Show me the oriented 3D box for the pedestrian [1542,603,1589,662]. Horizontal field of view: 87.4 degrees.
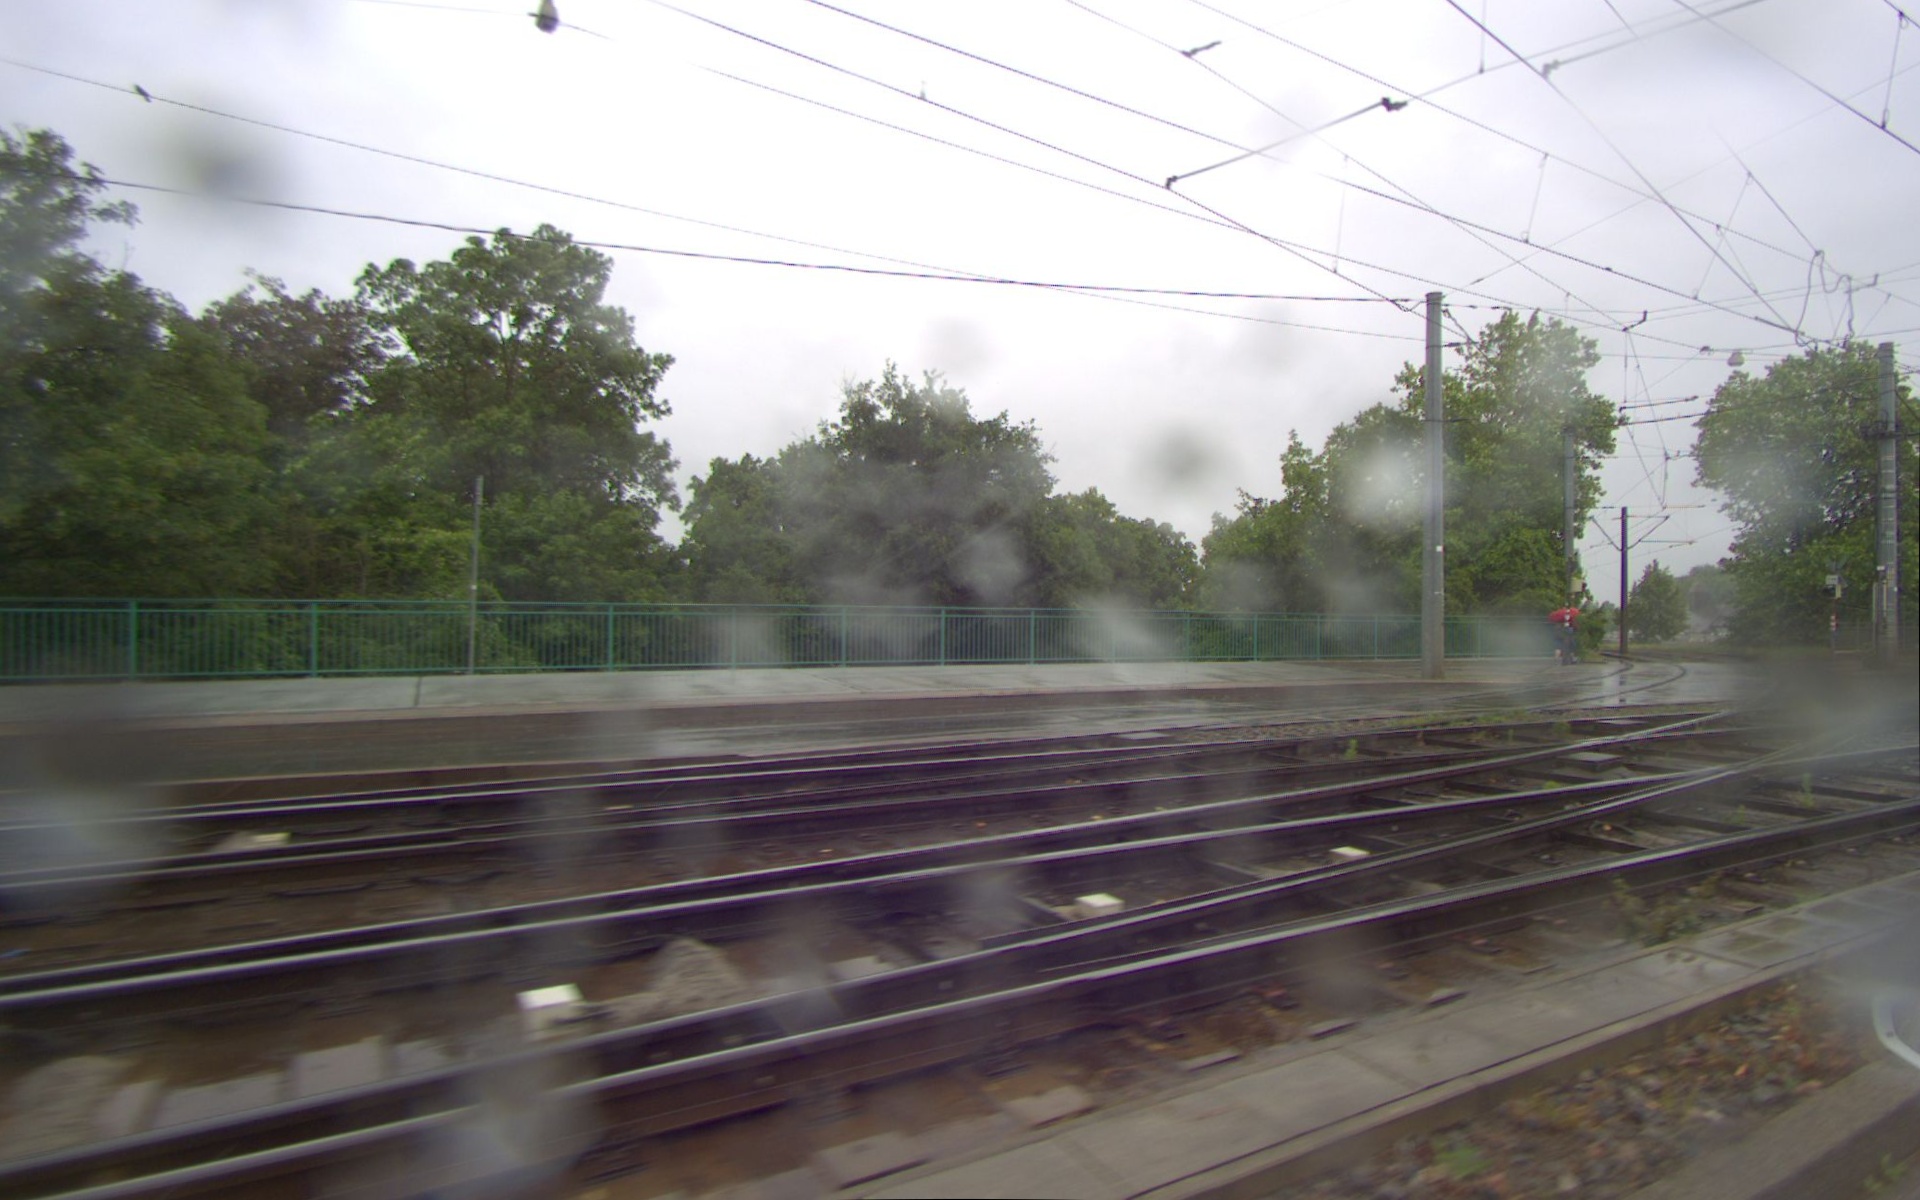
[{"bbox_3d":[19.464,1.037,32.301,1.030,1.843,0.860,2,1,-29],"label":"pedestrian"}]
